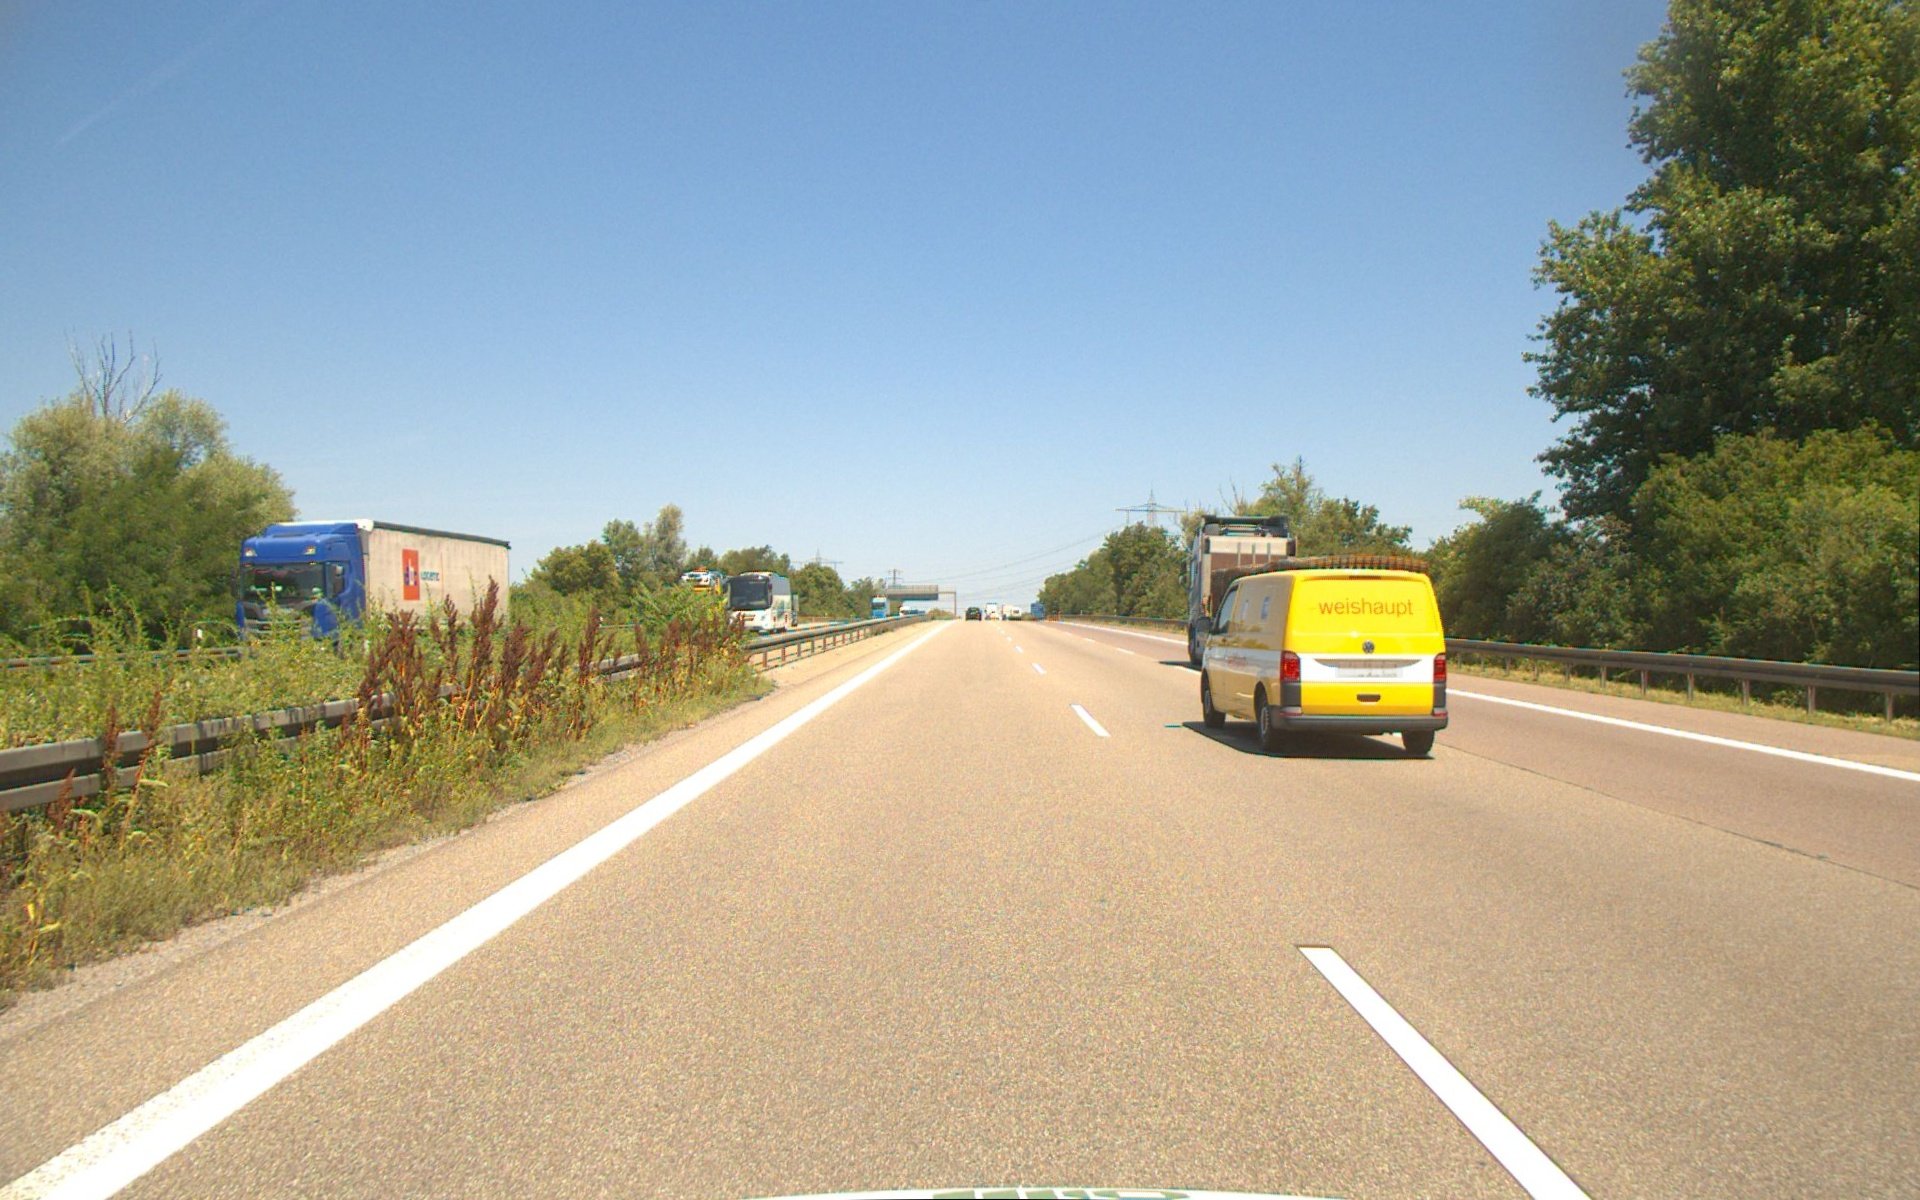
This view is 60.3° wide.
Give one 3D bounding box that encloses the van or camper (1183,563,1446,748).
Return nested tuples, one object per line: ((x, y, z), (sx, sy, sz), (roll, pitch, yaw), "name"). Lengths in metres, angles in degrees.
((4.112, 0.592, 20.080), (1.953, 1.942, 4.969), (1, 0, -2), "van or camper")

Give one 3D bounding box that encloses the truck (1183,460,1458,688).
((7.573, -0.363, 37.916), (2.908, 4.026, 16.613), (1, -1, 1), "truck")

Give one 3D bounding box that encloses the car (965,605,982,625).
((1.480, 1.632, 177.361), (1.754, 2.049, 3.887), (1, -1, 1), "car")

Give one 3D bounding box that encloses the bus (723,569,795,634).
((-12.274, 0.077, 102.055), (2.639, 3.646, 12.793), (-3, 0, 0), "bus")

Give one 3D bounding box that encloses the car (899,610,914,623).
((-7.930, 2.494, 245.299), (1.954, 1.631, 4.599), (-7, 0, 0), "car")

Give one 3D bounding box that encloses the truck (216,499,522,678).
((-17.173, -0.248, 50.308), (2.894, 4.418, 17.469), (-2, 0, 0), "truck")

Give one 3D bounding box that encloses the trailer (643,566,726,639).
((-16.462, 0.159, 99.554), (2.861, 4.037, 11.650), (-2, 0, 0), "trailer")
